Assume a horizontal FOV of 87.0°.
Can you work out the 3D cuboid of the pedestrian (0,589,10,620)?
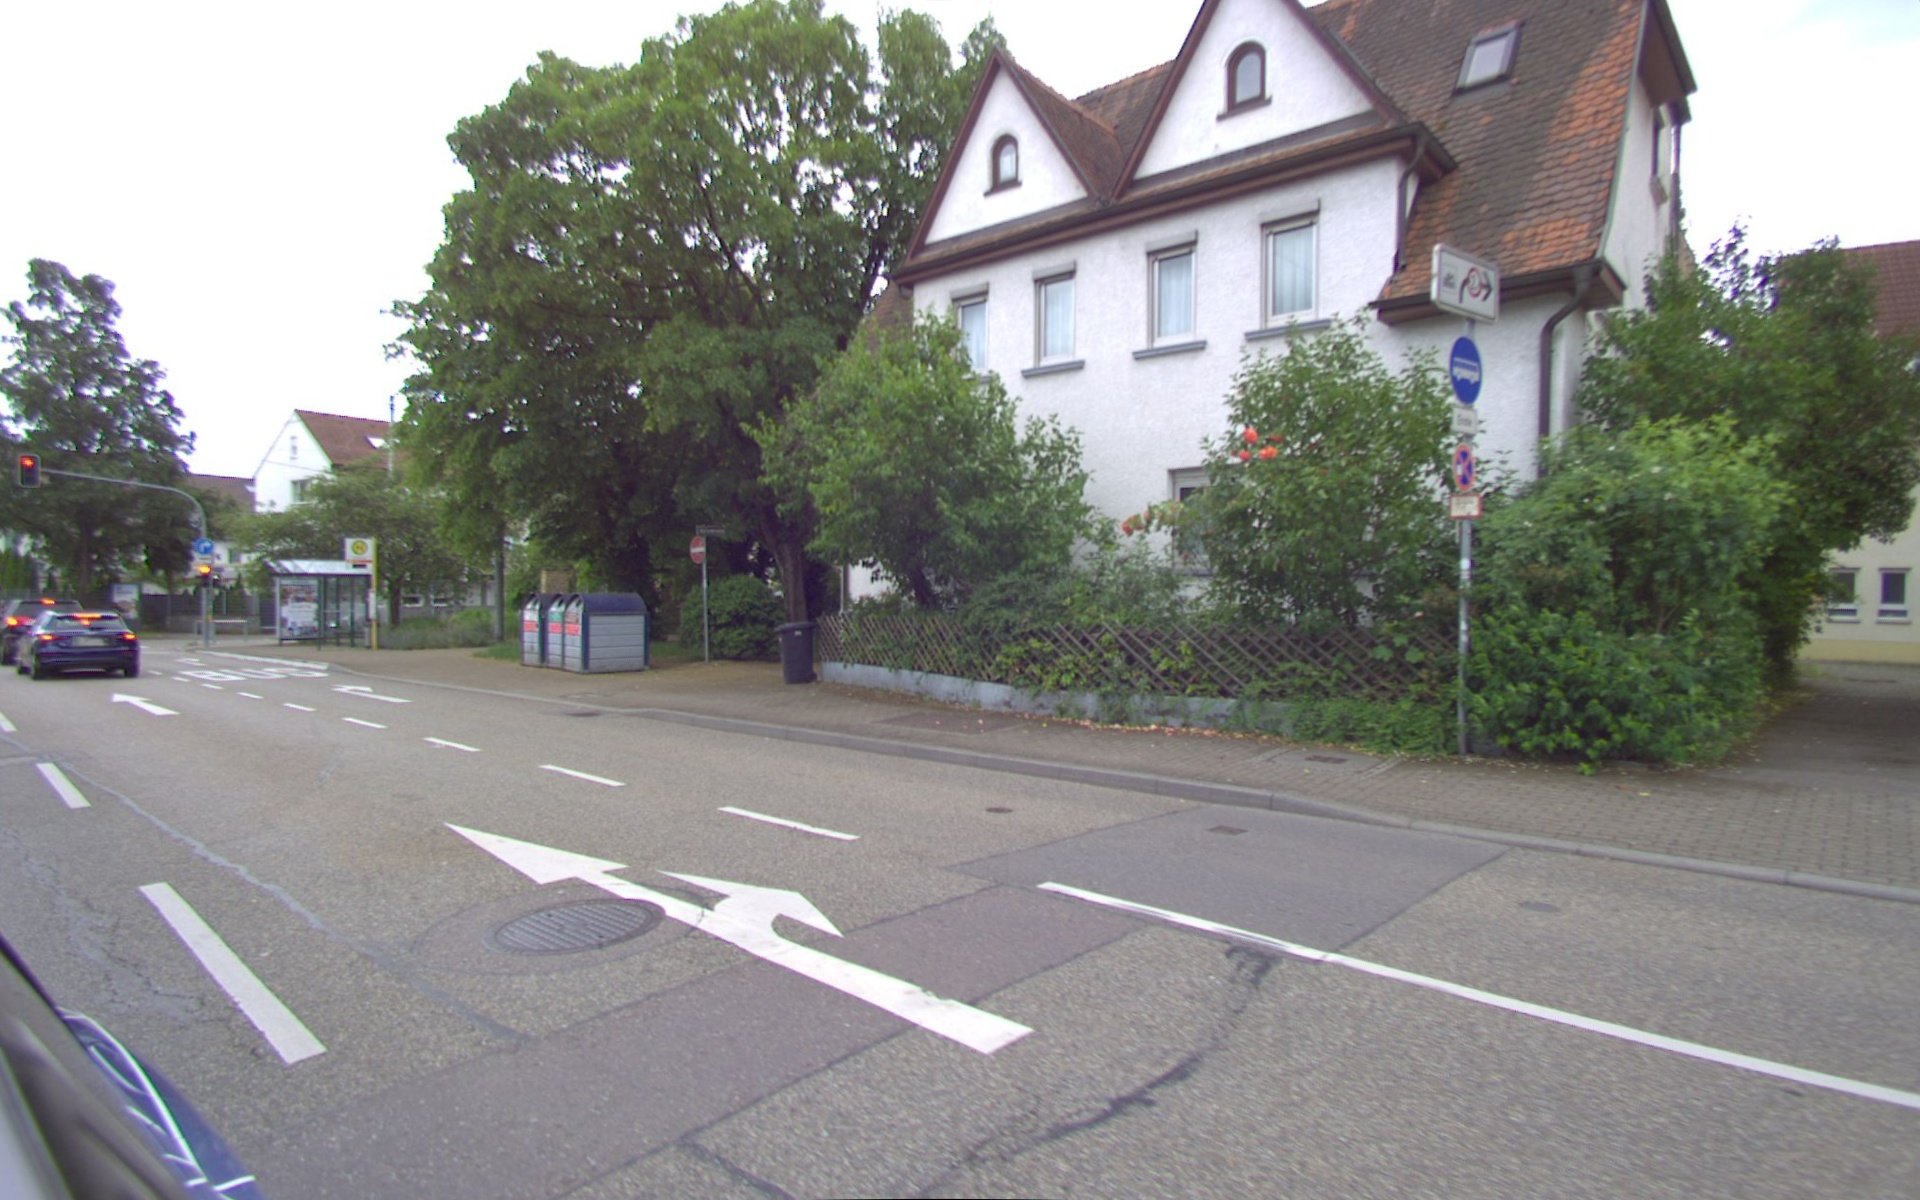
[{"bbox_3d":[-50.023,0.224,52.563,0.861,1.617,0.637,0,2,22],"label":"pedestrian"}]

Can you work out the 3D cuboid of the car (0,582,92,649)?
[{"bbox_3d":[-24.727,0.366,27.023,4.594,1.647,1.739,1,-1,42],"label":"car"}]

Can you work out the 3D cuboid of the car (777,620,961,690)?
[{"bbox_3d":[-1.907,1.169,22.244,1.721,1.342,3.946,1,-1,40],"label":"car"}]

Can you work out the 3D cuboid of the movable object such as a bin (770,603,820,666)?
[{"bbox_3d":[-2.874,0.584,17.589,0.708,1.027,0.724,-3,1,-16],"label":"movable object such as a bin"}]

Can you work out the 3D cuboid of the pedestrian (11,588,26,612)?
[{"bbox_3d":[-49.606,-0.007,53.312,0.546,1.271,0.380,0,2,22],"label":"pedestrian"}]

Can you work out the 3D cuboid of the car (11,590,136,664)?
[{"bbox_3d":[-19.361,0.528,22.048,4.129,1.431,1.547,1,1,41],"label":"car"}]
